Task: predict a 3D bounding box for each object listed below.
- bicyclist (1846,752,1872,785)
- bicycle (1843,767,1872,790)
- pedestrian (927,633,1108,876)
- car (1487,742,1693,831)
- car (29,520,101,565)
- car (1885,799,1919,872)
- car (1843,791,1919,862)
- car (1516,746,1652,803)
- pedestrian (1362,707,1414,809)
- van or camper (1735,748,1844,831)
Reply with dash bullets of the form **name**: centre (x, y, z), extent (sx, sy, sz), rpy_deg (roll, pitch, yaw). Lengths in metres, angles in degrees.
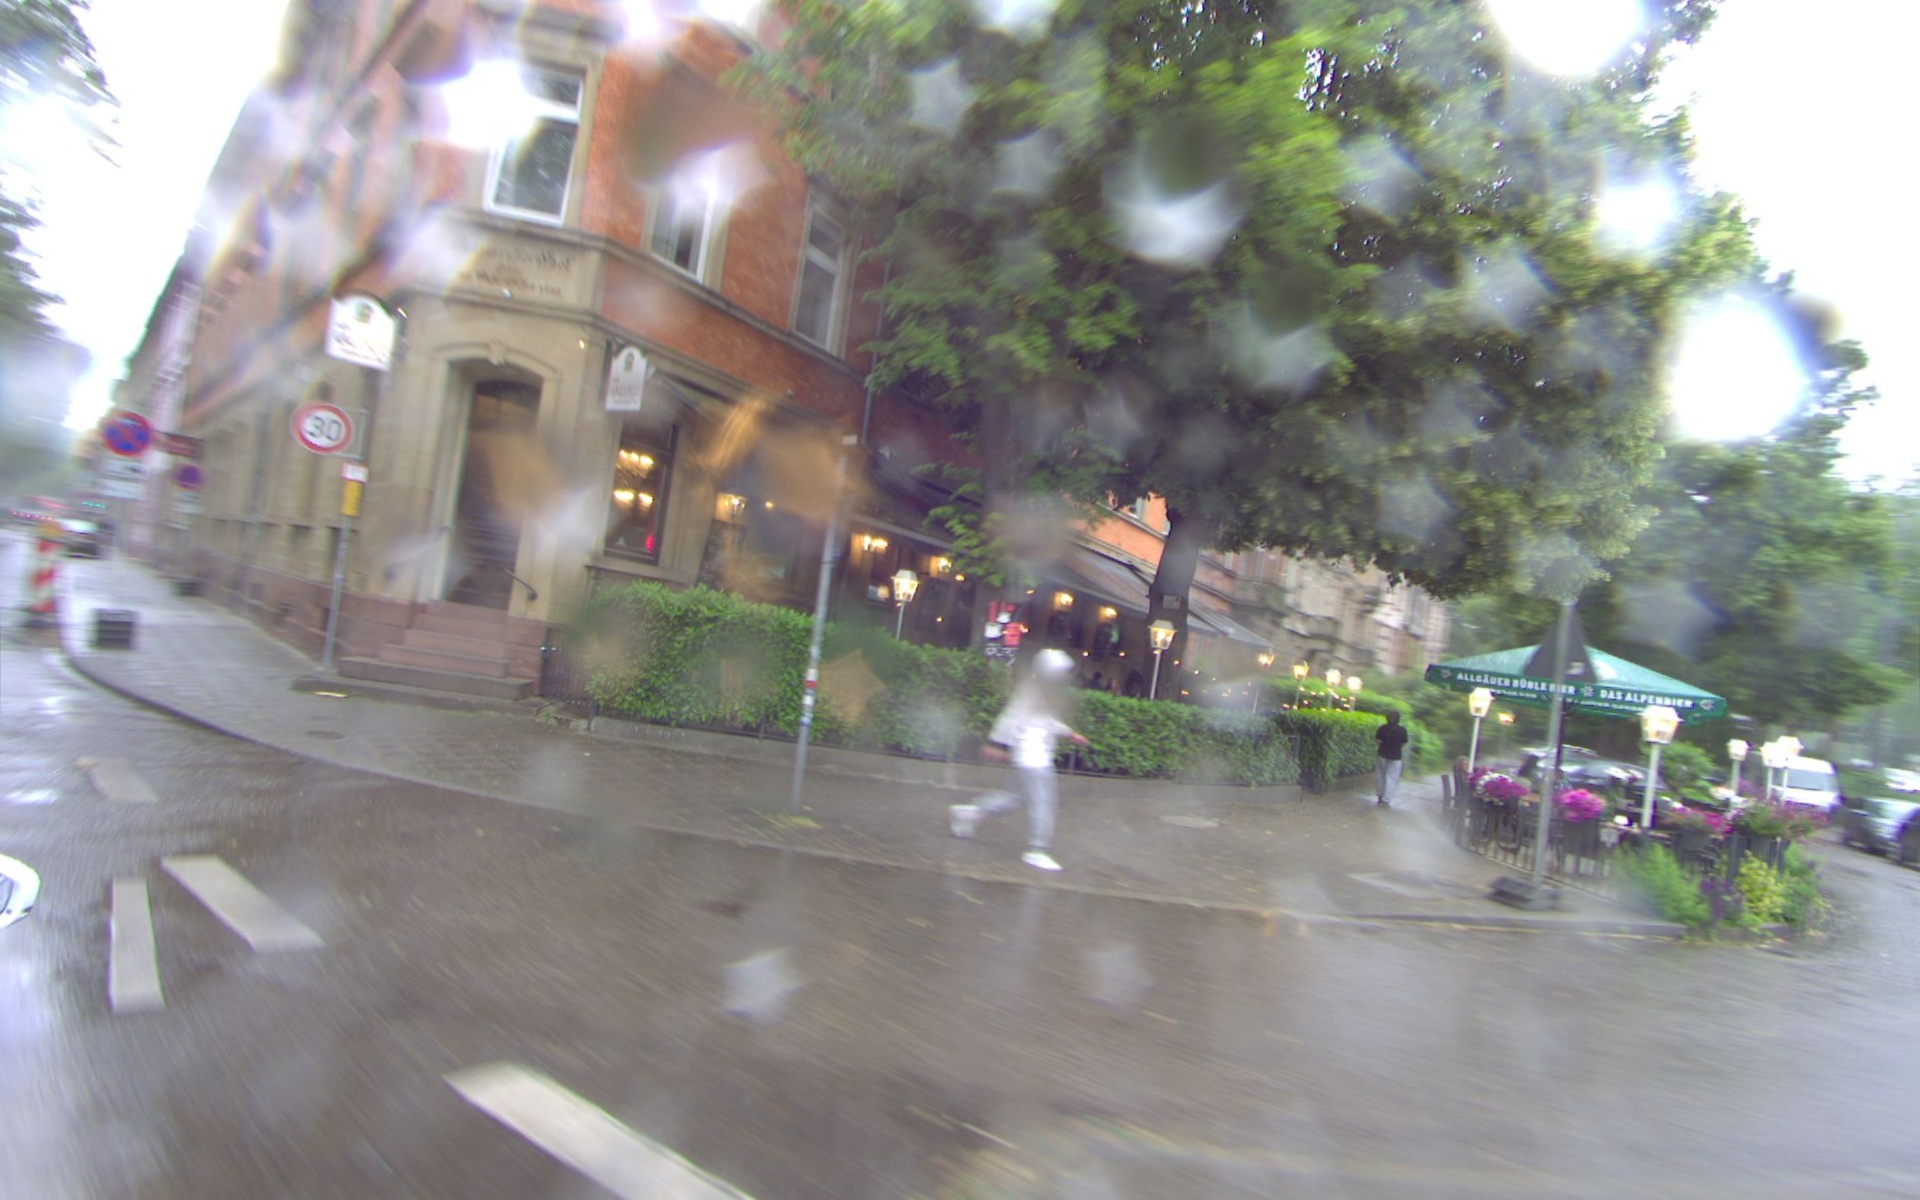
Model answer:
- **bicyclist**: centre (49.805, 9.333, 55.729), extent (0.725, 1.674, 0.877), rpy_deg (7, -3, 29)
- **bicycle**: centre (49.742, 9.882, 55.765), extent (0.727, 1.084, 1.866), rpy_deg (7, -3, 29)
- **pedestrian**: centre (0.494, 1.271, 8.581), extent (1.183, 1.796, 0.566), rpy_deg (9, 2, 18)
- **car**: centre (15.639, 4.615, 25.102), extent (3.928, 1.524, 1.863), rpy_deg (8, -3, -3)
- **car**: centre (-34.403, -2.218, 38.771), extent (1.805, 1.438, 4.646), rpy_deg (6, -1, -40)
- **car**: centre (22.432, 5.424, 22.525), extent (1.724, 1.479, 4.212), rpy_deg (5, -4, 33)
- **car**: centre (25.110, 6.053, 26.811), extent (1.705, 1.485, 4.211), rpy_deg (5, -4, 34)
- **car**: centre (24.790, 6.920, 40.058), extent (4.207, 1.485, 1.712), rpy_deg (8, -3, 1)
- **pedestrian**: centre (7.423, 2.732, 17.429), extent (0.542, 1.663, 0.388), rpy_deg (8, -1, 35)
- **van or camper**: centre (32.255, 7.284, 39.328), extent (2.296, 2.618, 6.092), rpy_deg (6, -4, 32)
